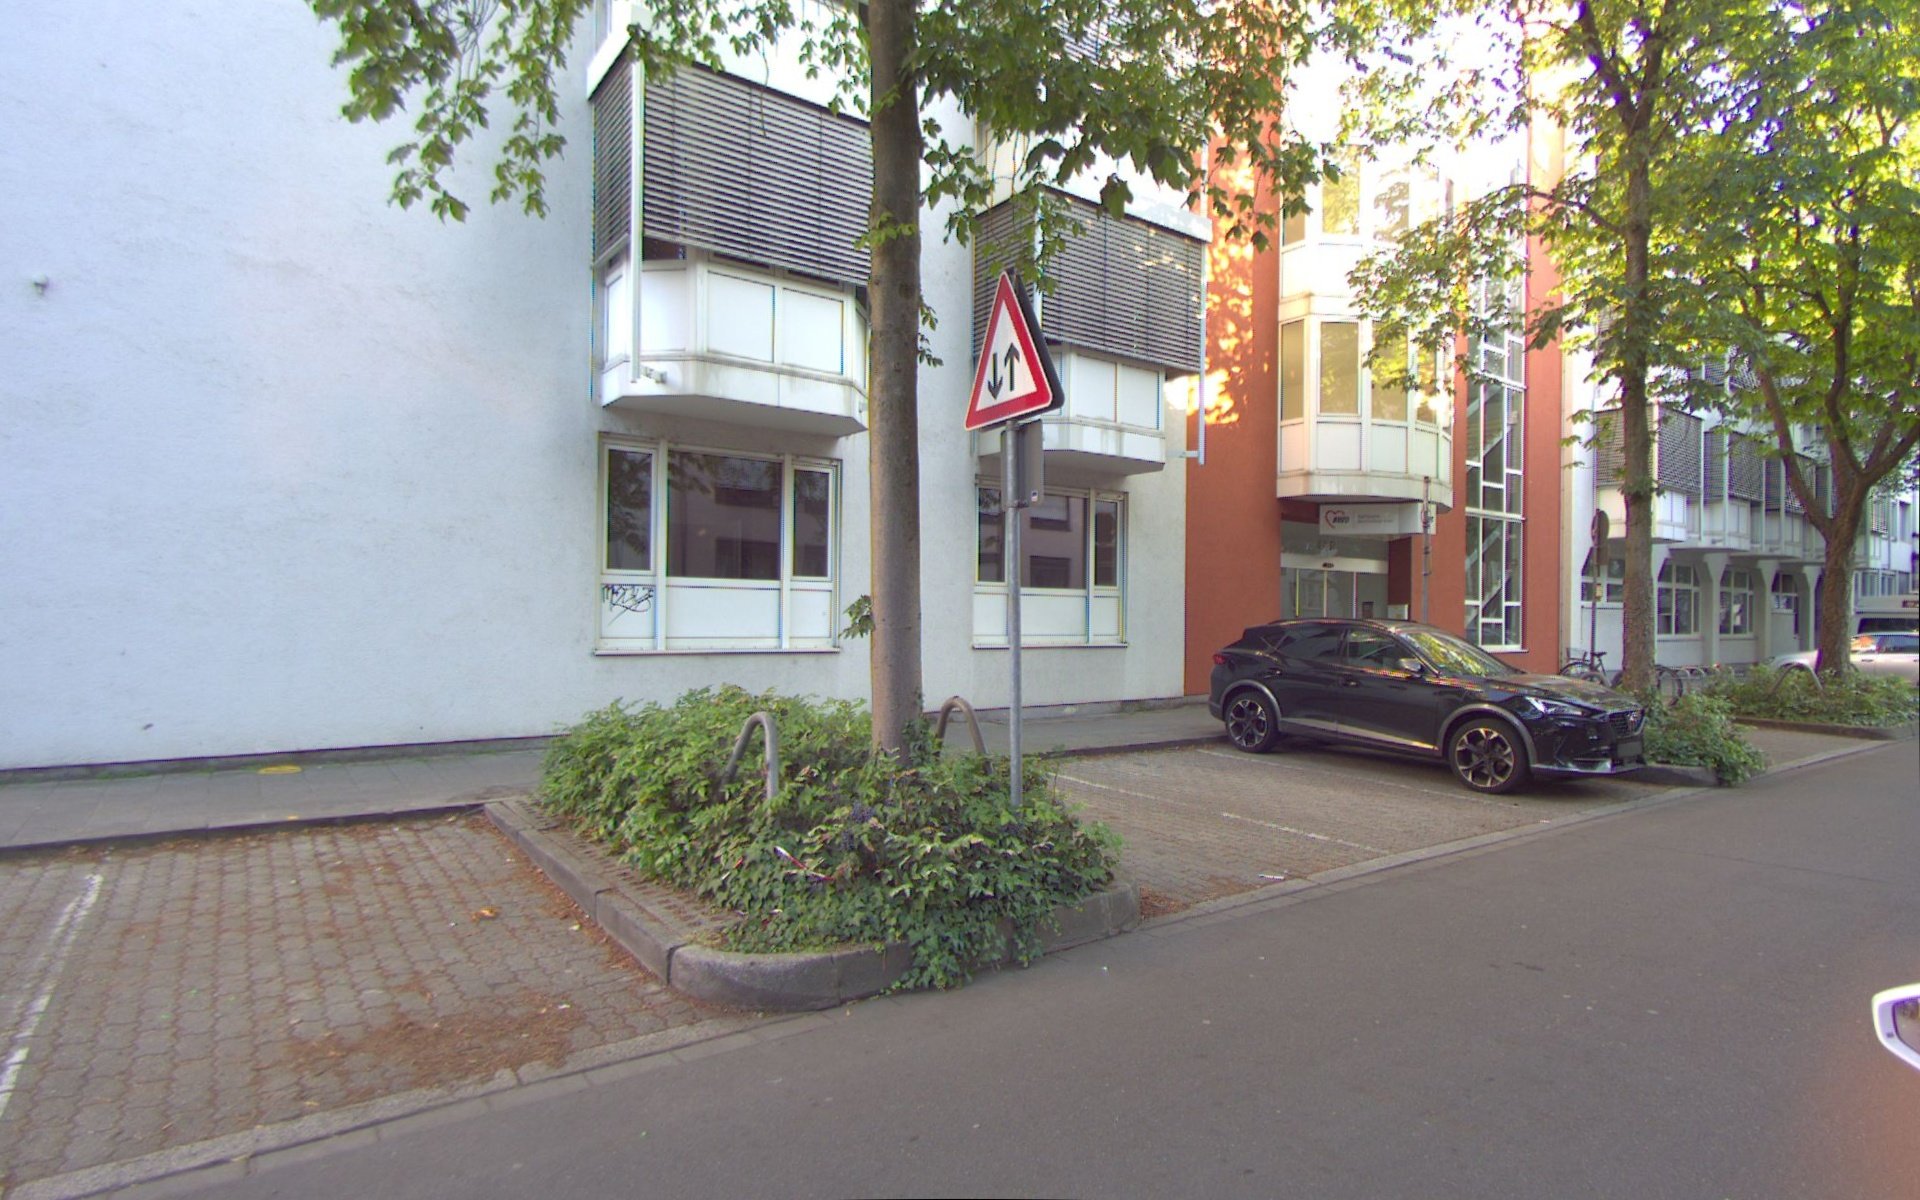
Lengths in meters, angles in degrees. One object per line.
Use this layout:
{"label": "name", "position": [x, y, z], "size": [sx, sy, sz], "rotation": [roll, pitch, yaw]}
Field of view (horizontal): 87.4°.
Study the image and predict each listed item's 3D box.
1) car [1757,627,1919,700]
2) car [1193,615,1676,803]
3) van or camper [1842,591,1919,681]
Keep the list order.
{"label": "car", "position": [21.163, 1.434, 23.239], "size": [1.767, 1.537, 3.942], "rotation": [1, -1, -35]}
{"label": "car", "position": [4.718, 0.950, 10.612], "size": [1.768, 1.537, 4.325], "rotation": [1, -1, -35]}
{"label": "van or camper", "position": [27.903, 1.023, 28.040], "size": [1.981, 2.511, 4.632], "rotation": [1, -1, -36]}
